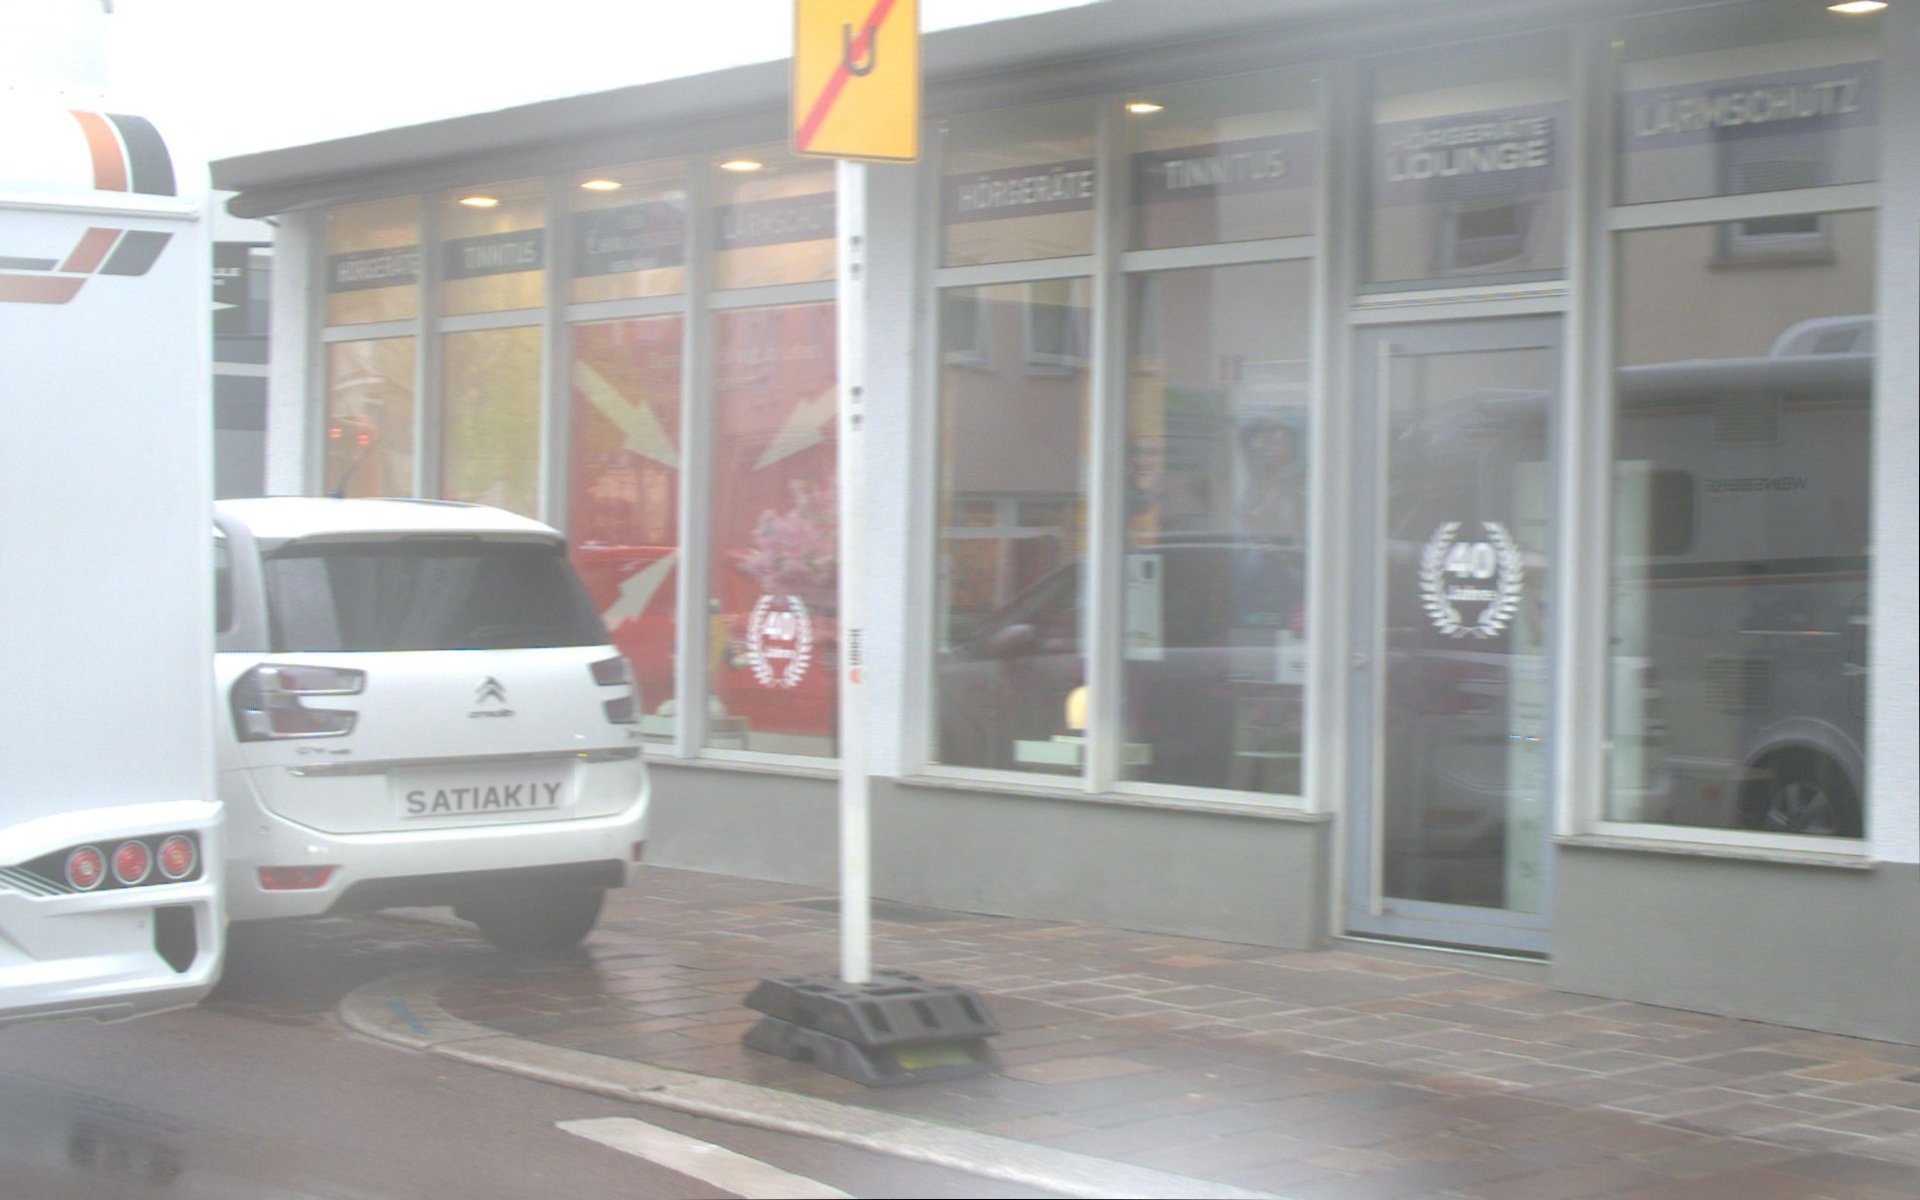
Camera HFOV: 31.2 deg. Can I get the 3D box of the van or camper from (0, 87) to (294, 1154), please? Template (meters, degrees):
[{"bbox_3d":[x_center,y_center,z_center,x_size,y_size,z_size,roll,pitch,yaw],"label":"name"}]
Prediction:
[{"bbox_3d":[-4.970,-0.027,10.413,2.439,2.577,6.747,1,1,-44],"label":"van or camper"}]

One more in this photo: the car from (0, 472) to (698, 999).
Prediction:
[{"bbox_3d":[-3.010,0.383,12.893,1.776,1.625,4.468,1,1,-39],"label":"car"}]
